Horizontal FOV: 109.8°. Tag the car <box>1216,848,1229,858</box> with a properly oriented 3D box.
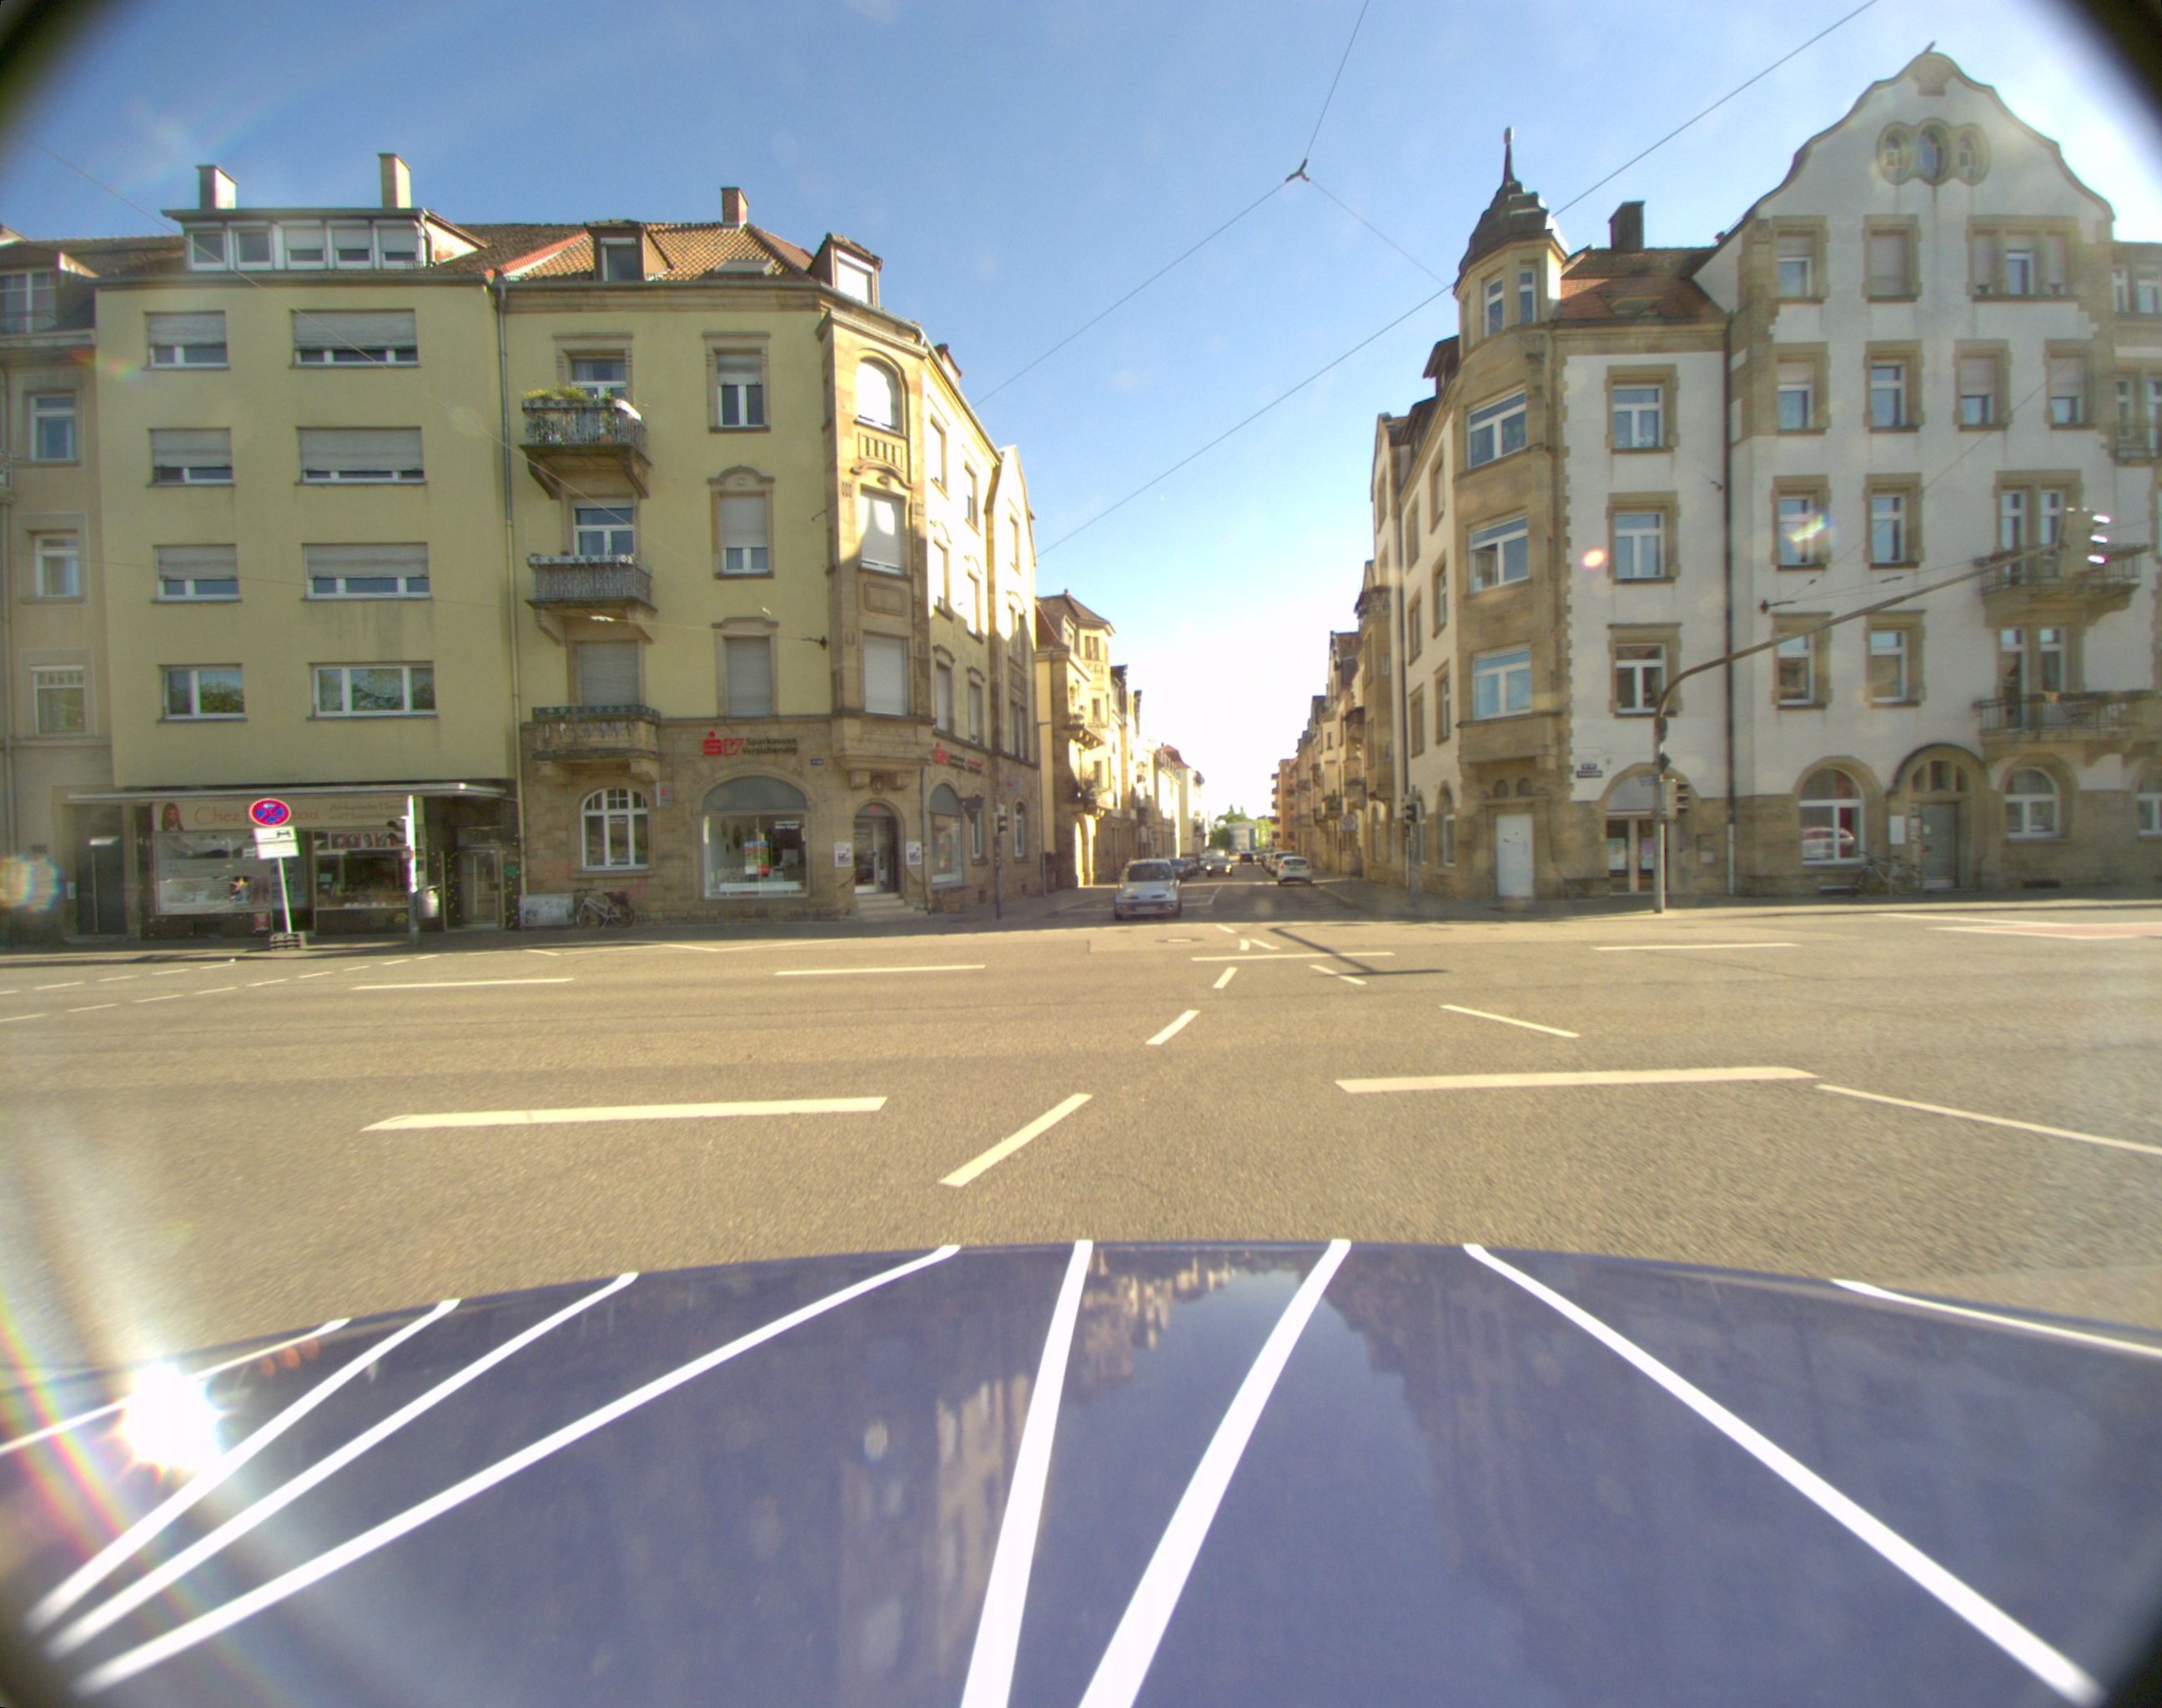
[{"bbox_3d":[24.658,-0.213,132.500,1.876,1.657,4.003,-3,0,14],"label":"car"}]

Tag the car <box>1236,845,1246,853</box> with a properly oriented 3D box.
[{"bbox_3d":[35.621,-1.155,168.970,1.876,1.657,4.003,-3,0,14],"label":"car"}]

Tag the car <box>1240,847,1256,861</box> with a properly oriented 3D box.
[{"bbox_3d":[22.234,0.009,100.866,1.915,1.718,4.351,-1,0,15],"label":"car"}]

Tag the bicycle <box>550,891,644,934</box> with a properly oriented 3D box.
[{"bbox_3d":[-12.013,1.453,18.893,1.952,0.970,0.516,-2,3,0],"label":"bicycle"}]

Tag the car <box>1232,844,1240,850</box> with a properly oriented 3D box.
[{"bbox_3d":[41.327,-1.907,202.899,1.876,1.657,4.003,-3,0,14],"label":"car"}]

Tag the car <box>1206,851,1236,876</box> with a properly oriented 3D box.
[{"bbox_3d":[10.515,0.673,56.999,1.876,1.657,4.003,-3,0,14],"label":"car"}]

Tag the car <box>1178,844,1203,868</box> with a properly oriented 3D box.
[{"bbox_3d":[10.022,0.143,69.359,1.831,2.022,3.823,-4,-1,13],"label":"car"}]

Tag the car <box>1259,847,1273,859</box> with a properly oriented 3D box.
[{"bbox_3d":[29.928,-0.151,122.744,1.916,1.614,4.350,-5,0,12],"label":"car"}]

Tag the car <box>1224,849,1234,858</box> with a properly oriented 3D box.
[{"bbox_3d":[30.277,-0.035,155.429,1.876,1.657,4.003,-3,0,14],"label":"car"}]

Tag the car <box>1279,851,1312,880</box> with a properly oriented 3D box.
[{"bbox_3d":[10.962,0.558,39.022,1.554,1.403,3.575,1,1,15],"label":"car"}]

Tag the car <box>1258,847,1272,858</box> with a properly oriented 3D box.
[{"bbox_3d":[30.864,-0.208,127.614,1.916,1.614,4.350,-5,0,12],"label":"car"}]

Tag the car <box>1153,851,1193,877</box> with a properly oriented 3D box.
[{"bbox_3d":[6.034,0.617,49.574,1.997,1.528,4.004,-4,-1,14],"label":"car"}]

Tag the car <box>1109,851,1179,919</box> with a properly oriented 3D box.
[{"bbox_3d":[1.749,0.756,20.301,1.651,1.559,3.617,-1,1,7],"label":"car"}]

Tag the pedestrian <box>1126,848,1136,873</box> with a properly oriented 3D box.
[{"bbox_3d":[3.367,0.428,51.287,0.577,1.712,0.698,0,1,13],"label":"pedestrian"}]

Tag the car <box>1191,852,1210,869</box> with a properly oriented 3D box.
[{"bbox_3d":[12.865,0.682,81.744,1.832,1.586,3.823,-4,-1,11],"label":"car"}]

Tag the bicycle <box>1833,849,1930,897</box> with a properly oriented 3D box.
[{"bbox_3d":[19.958,0.457,18.962,1.809,1.127,0.610,-2,1,-1],"label":"bicycle"}]

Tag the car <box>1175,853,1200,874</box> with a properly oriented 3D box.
[{"bbox_3d":[9.158,0.806,64.971,1.832,1.586,3.823,-4,-1,11],"label":"car"}]

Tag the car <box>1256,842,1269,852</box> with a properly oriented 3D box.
[{"bbox_3d":[31.838,-1.216,133.134,1.916,1.614,4.350,-5,0,12],"label":"car"}]

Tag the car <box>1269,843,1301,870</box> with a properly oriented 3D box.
[{"bbox_3d":[14.309,0.159,53.434,1.916,1.649,4.350,-5,0,14],"label":"car"}]

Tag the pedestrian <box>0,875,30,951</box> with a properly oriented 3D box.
[{"bbox_3d":[-25.935,1.412,18.182,0.521,1.793,0.709,-2,1,3],"label":"pedestrian"}]
